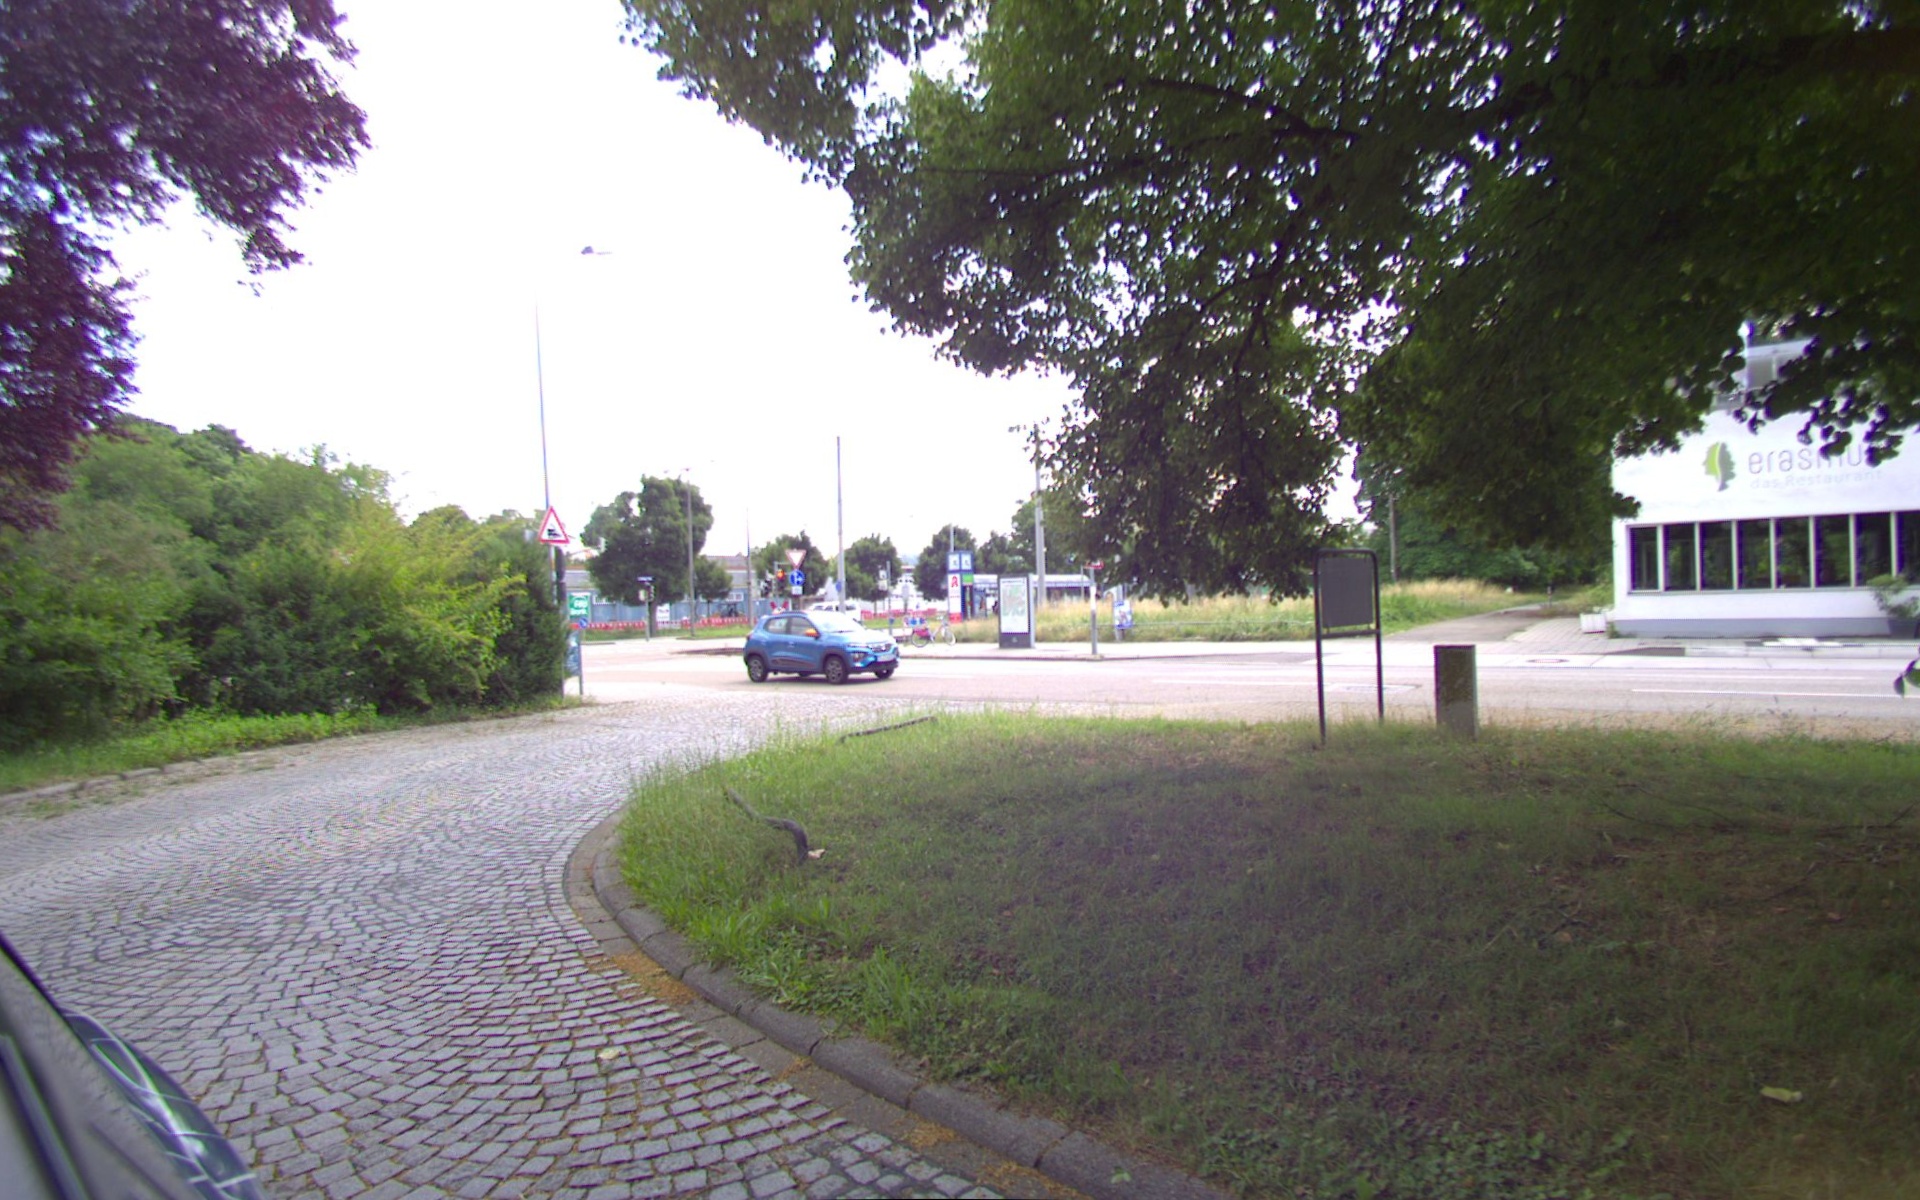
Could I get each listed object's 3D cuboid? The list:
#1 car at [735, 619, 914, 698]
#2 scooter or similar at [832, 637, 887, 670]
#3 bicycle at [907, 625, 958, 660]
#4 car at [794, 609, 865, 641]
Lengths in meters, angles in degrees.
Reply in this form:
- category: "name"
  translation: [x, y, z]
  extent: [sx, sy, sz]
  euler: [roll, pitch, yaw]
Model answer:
- category: "car"
  translation: [-2.888, 1.222, 21.243]
  extent: [3.698, 1.475, 1.585]
  euler: [-3, -2, 39]
- category: "scooter or similar"
  translation: [-3.227, 1.723, 32.377]
  extent: [0.948, 0.987, 1.581]
  euler: [-1, -2, -44]
- category: "bicycle"
  translation: [-0.982, 1.531, 36.364]
  extent: [1.642, 1.141, 0.699]
  euler: [-4, -1, 9]
- category: "car"
  translation: [-9.135, 1.715, 71.120]
  extent: [2.000, 2.029, 4.763]
  euler: [-3, -1, 44]
